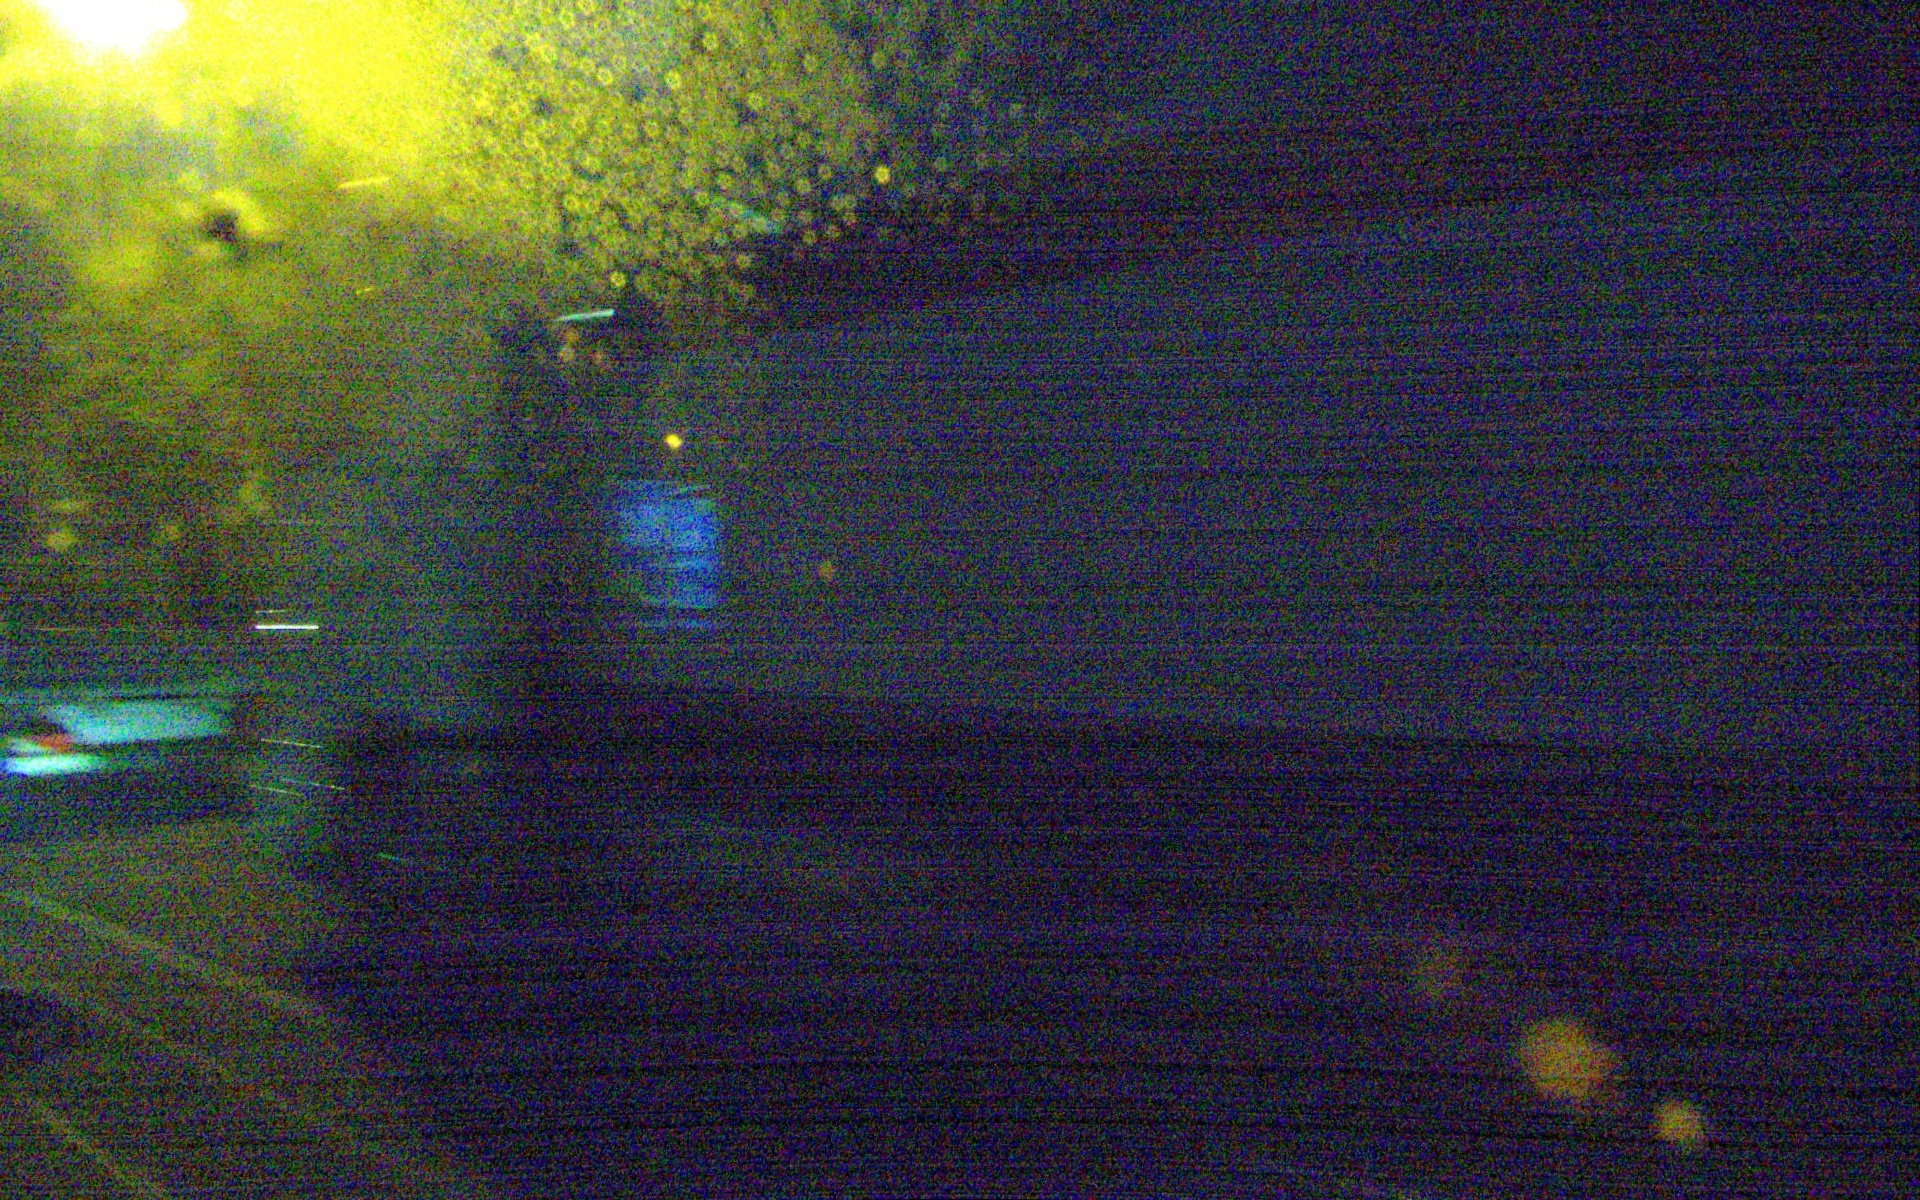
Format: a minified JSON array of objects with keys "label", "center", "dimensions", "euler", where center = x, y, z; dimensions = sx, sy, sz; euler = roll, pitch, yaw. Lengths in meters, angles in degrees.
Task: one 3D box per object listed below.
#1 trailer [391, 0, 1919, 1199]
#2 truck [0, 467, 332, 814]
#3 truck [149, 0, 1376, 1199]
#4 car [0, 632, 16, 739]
[{"label":"trailer","center":[4.693,-0.399,0.933],"dimensions":[14.451,3.811,2.760],"euler":[-2,-2,33]},{"label":"truck","center":[-9.360,0.383,10.360],"dimensions":[6.505,2.627,2.396],"euler":[-1,-1,33]},{"label":"truck","center":[-1.069,-0.233,4.690],"dimensions":[5.155,3.811,2.761],"euler":[-2,-2,33]},{"label":"car","center":[-15.231,1.136,13.967],"dimensions":[4.838,1.425,1.827],"euler":[-1,-4,32]}]
